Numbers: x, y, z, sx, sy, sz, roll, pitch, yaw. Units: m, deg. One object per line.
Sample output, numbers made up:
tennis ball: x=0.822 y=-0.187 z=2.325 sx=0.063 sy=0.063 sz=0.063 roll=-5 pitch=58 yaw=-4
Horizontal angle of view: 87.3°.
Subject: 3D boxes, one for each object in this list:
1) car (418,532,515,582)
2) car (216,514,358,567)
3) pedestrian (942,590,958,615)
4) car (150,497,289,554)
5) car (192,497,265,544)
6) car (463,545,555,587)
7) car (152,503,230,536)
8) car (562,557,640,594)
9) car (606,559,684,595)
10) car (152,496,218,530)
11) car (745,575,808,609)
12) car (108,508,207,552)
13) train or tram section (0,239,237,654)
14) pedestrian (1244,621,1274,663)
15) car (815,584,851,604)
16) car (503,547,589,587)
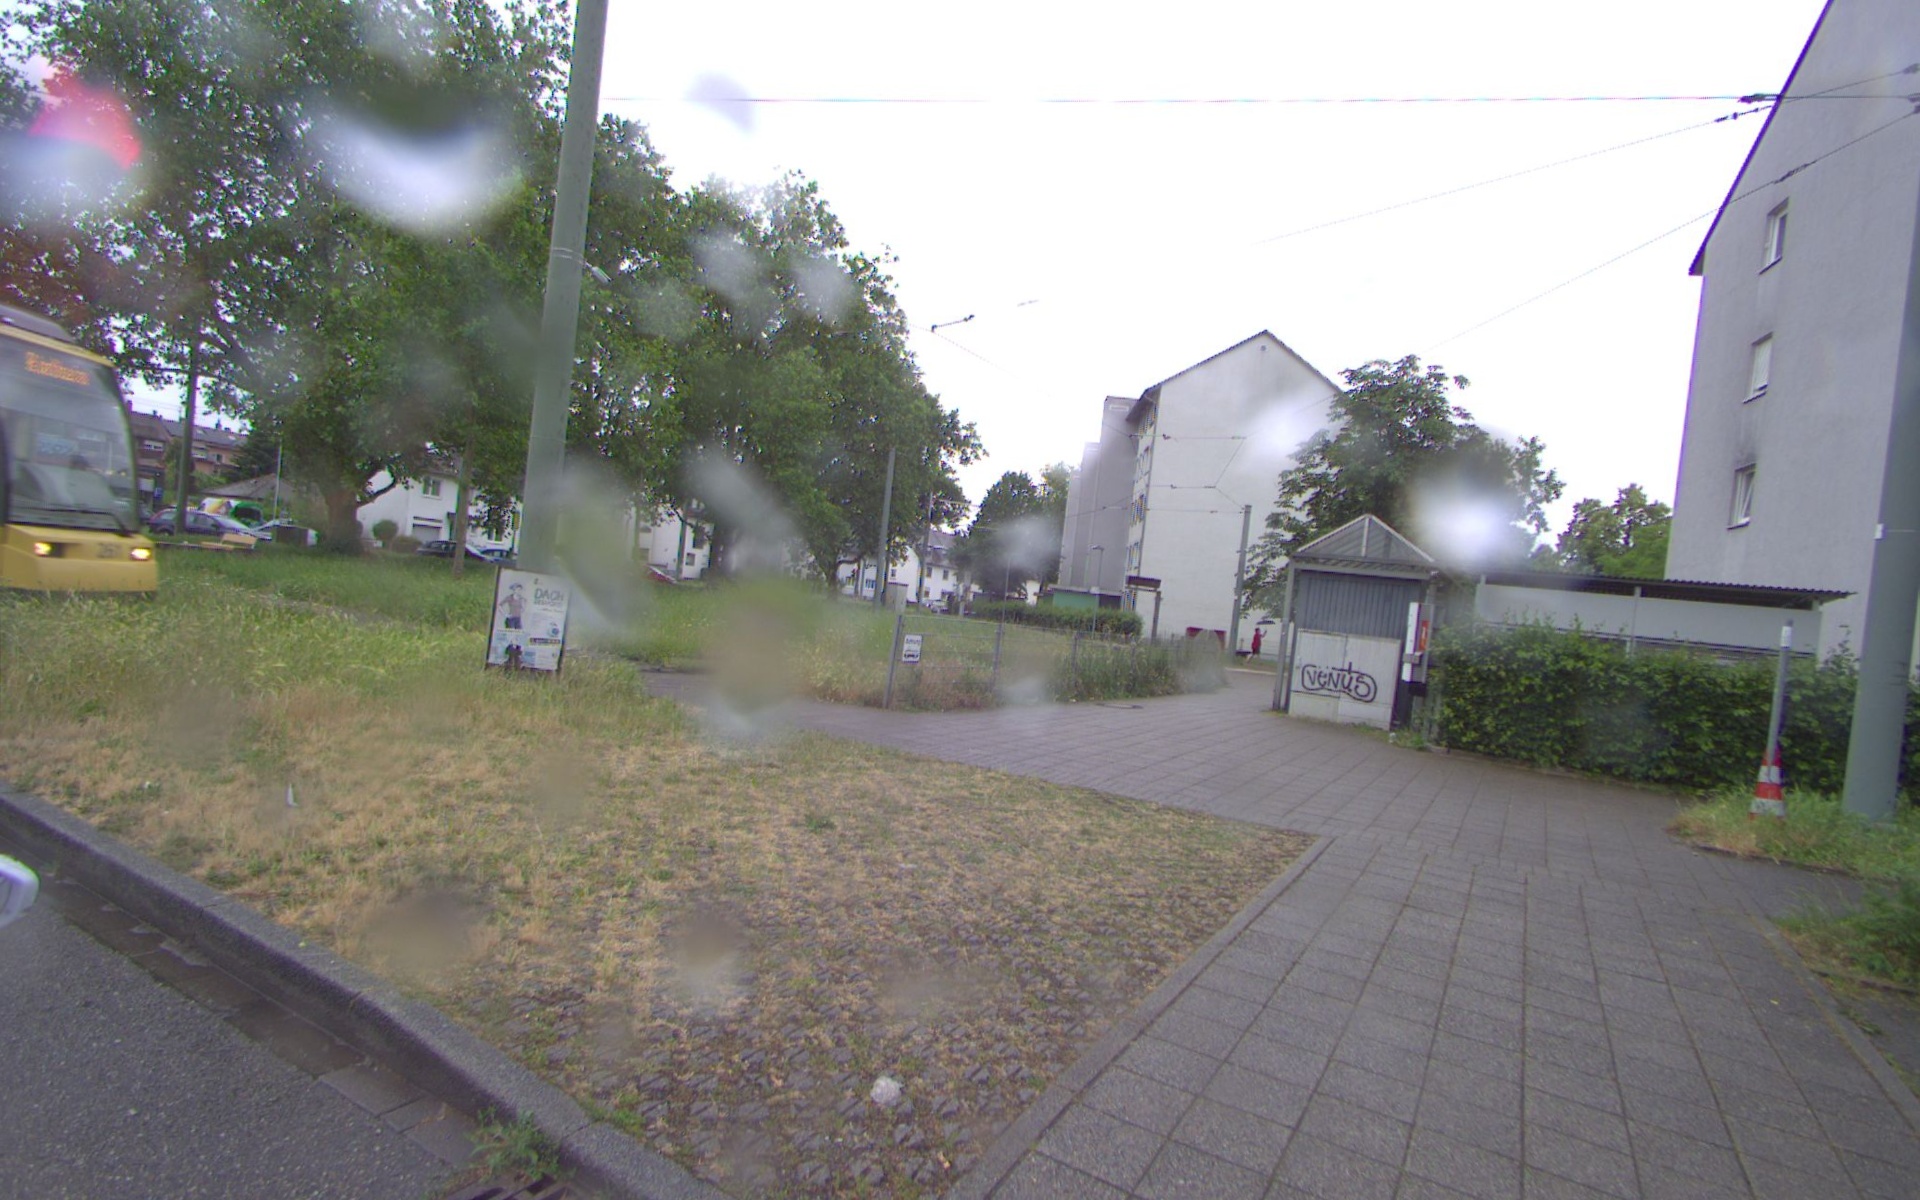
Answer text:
car: x=-23.729 y=-2.042 z=48.527 sx=3.710 sy=1.819 sz=1.806 roll=8 pitch=-2 yaw=-15
car: x=-25.159 y=-2.209 z=37.707 sx=1.819 sy=1.300 sz=3.987 roll=6 pitch=-3 yaw=39
pedestrian: x=-0.771 y=0.227 z=79.764 sx=1.022 sy=1.811 sz=0.818 roll=7 pitch=-1 yaw=-3
car: x=-29.191 y=-2.899 z=39.780 sx=3.855 sy=1.512 sz=1.806 roll=8 pitch=-2 yaw=-15
car: x=-46.744 y=-5.059 z=64.263 sx=4.280 sy=2.471 sz=1.998 roll=6 pitch=-2 yaw=31
car: x=-22.809 y=-1.685 z=51.060 sx=3.855 sy=1.512 sz=1.806 roll=8 pitch=-2 yaw=-15
car: x=-55.465 y=-5.767 z=72.600 sx=1.816 sy=1.658 sz=3.995 roll=6 pitch=-2 yaw=32
car: x=-20.110 y=-1.359 z=56.530 sx=3.855 sy=1.512 sz=1.806 roll=8 pitch=-2 yaw=-15
car: x=-18.628 y=-1.332 z=59.587 sx=3.842 sy=1.513 sz=1.812 roll=7 pitch=-2 yaw=3
car: x=-62.213 y=-6.964 z=80.812 sx=3.924 sy=2.037 sz=2.003 roll=7 pitch=-2 yaw=14
car: x=-12.742 y=-0.544 z=70.100 sx=3.843 sy=1.785 sz=1.812 roll=7 pitch=-2 yaw=0
car: x=-43.426 y=-3.786 z=54.506 sx=1.859 sy=1.720 sz=3.692 roll=6 pitch=-2 yaw=32
train or tram section: x=-14.270 y=-2.045 z=9.532 sx=11.989 sy=3.597 sz=2.766 roll=7 pitch=0 yaw=-6
pedestrian: x=13.010 y=1.828 z=43.811 sx=0.806 sy=1.674 sz=0.889 roll=6 pitch=-1 yaw=41
car: x=-14.090 y=-0.617 z=111.605 sx=1.859 sy=1.678 sz=3.692 roll=6 pitch=-2 yaw=32
car: x=-21.978 y=-1.728 z=53.496 sx=3.855 sy=1.512 sz=1.806 roll=8 pitch=-2 yaw=-15
